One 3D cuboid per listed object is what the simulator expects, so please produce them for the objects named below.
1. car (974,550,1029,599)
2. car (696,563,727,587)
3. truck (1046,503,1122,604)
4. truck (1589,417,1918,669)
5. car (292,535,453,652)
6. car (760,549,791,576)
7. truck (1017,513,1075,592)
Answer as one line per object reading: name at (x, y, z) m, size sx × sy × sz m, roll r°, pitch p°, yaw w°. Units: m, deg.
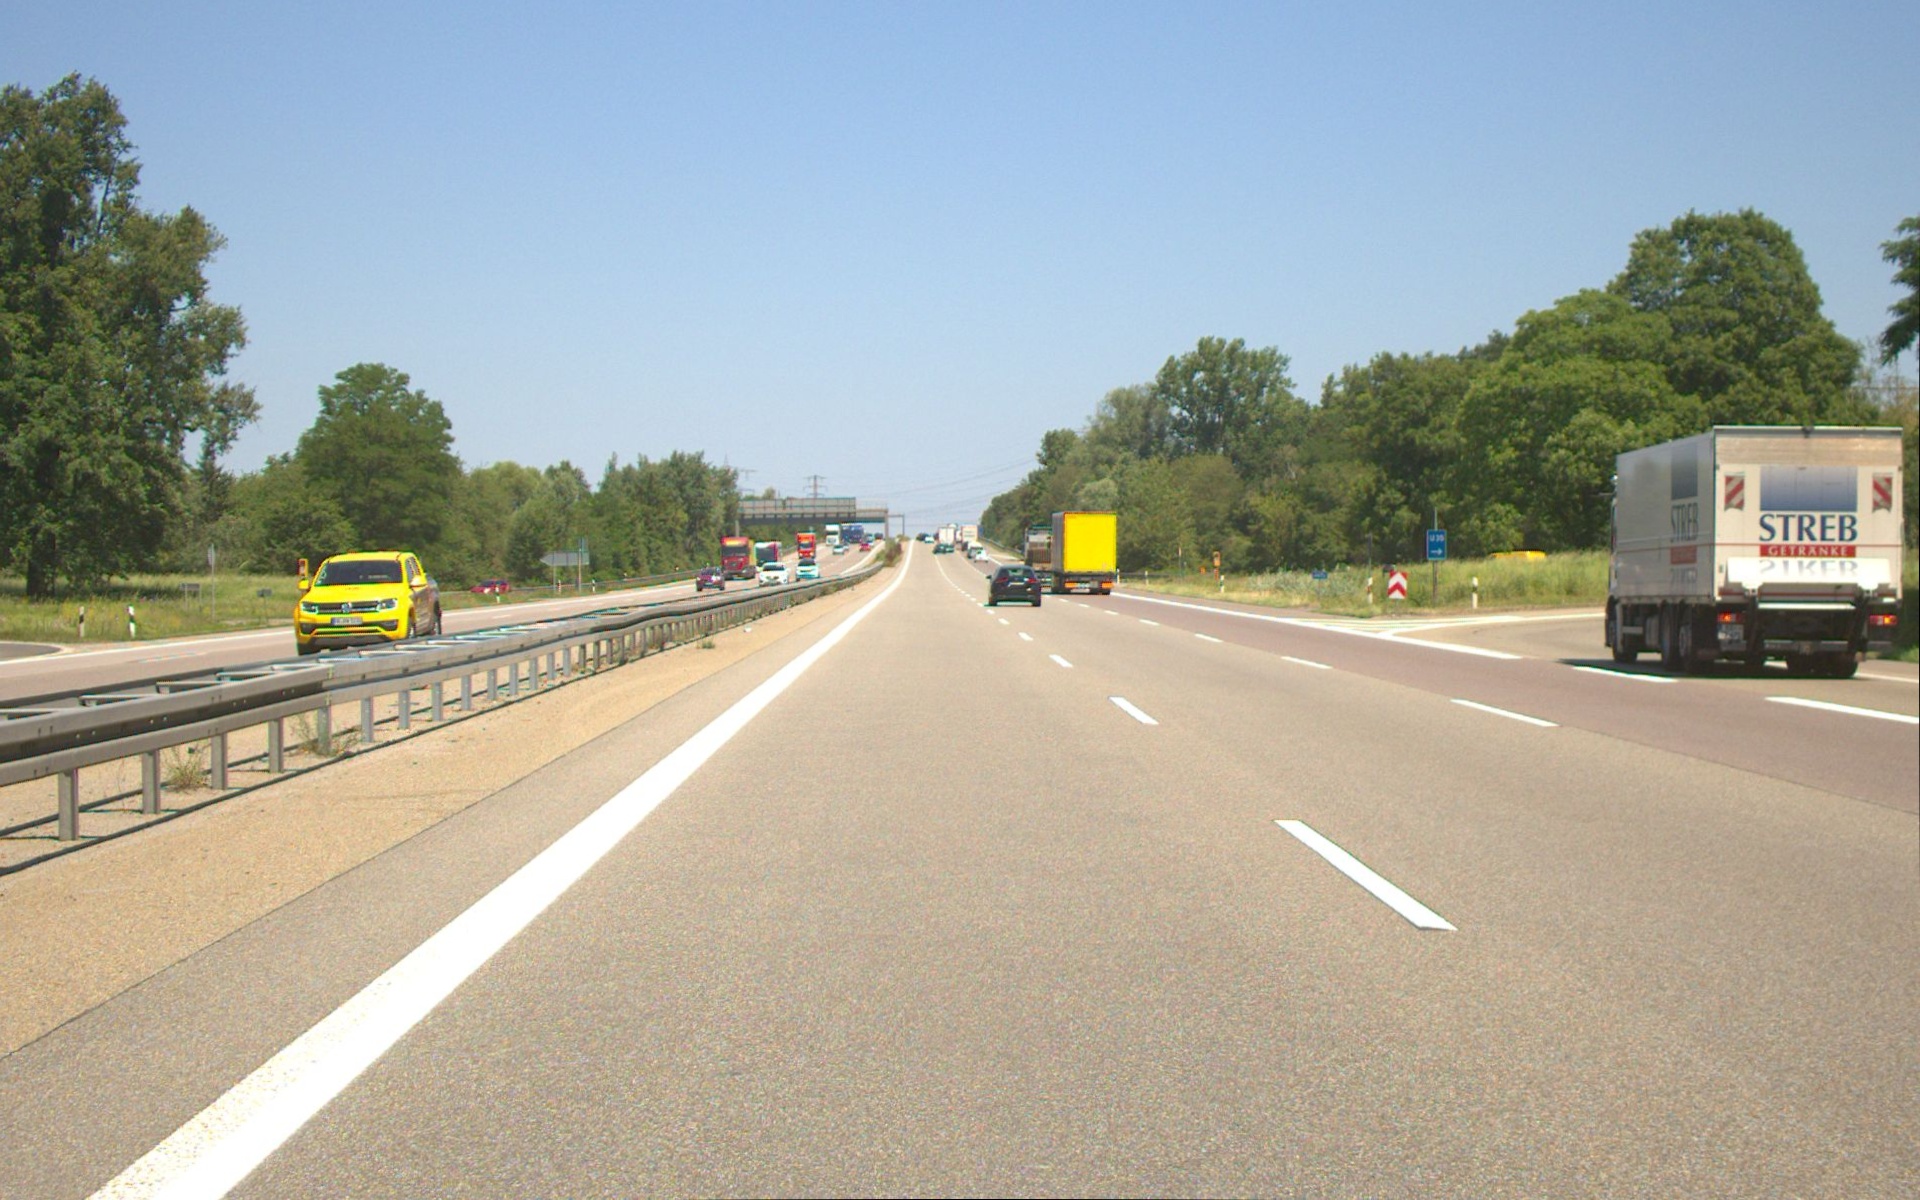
car at (1.464, -0.917, 121.762) m, size 1.827 × 1.700 × 4.000 m, roll 1°, pitch 1°, yaw -1°
car at (-16.310, -1.639, 225.767) m, size 1.762 × 1.490 × 4.075 m, roll -2°, pitch 1°, yaw 0°
truck at (6.243, -2.351, 175.569) m, size 3.377 × 4.864 × 15.086 m, roll 1°, pitch 1°, yaw 0°
truck at (11.554, -0.823, 51.192) m, size 3.028 × 3.308 × 10.769 m, roll 1°, pitch 1°, yaw 4°
car at (-10.302, -0.143, 60.634) m, size 1.993 × 1.957 × 5.211 m, roll 1°, pitch 1°, yaw -1°
car at (-11.763, -2.408, 219.309) m, size 1.762 × 1.687 × 4.819 m, roll -1°, pitch 1°, yaw -1°
truck at (5.498, -3.015, 221.252) m, size 3.367 × 4.864 × 15.086 m, roll 1°, pitch 1°, yaw 0°
